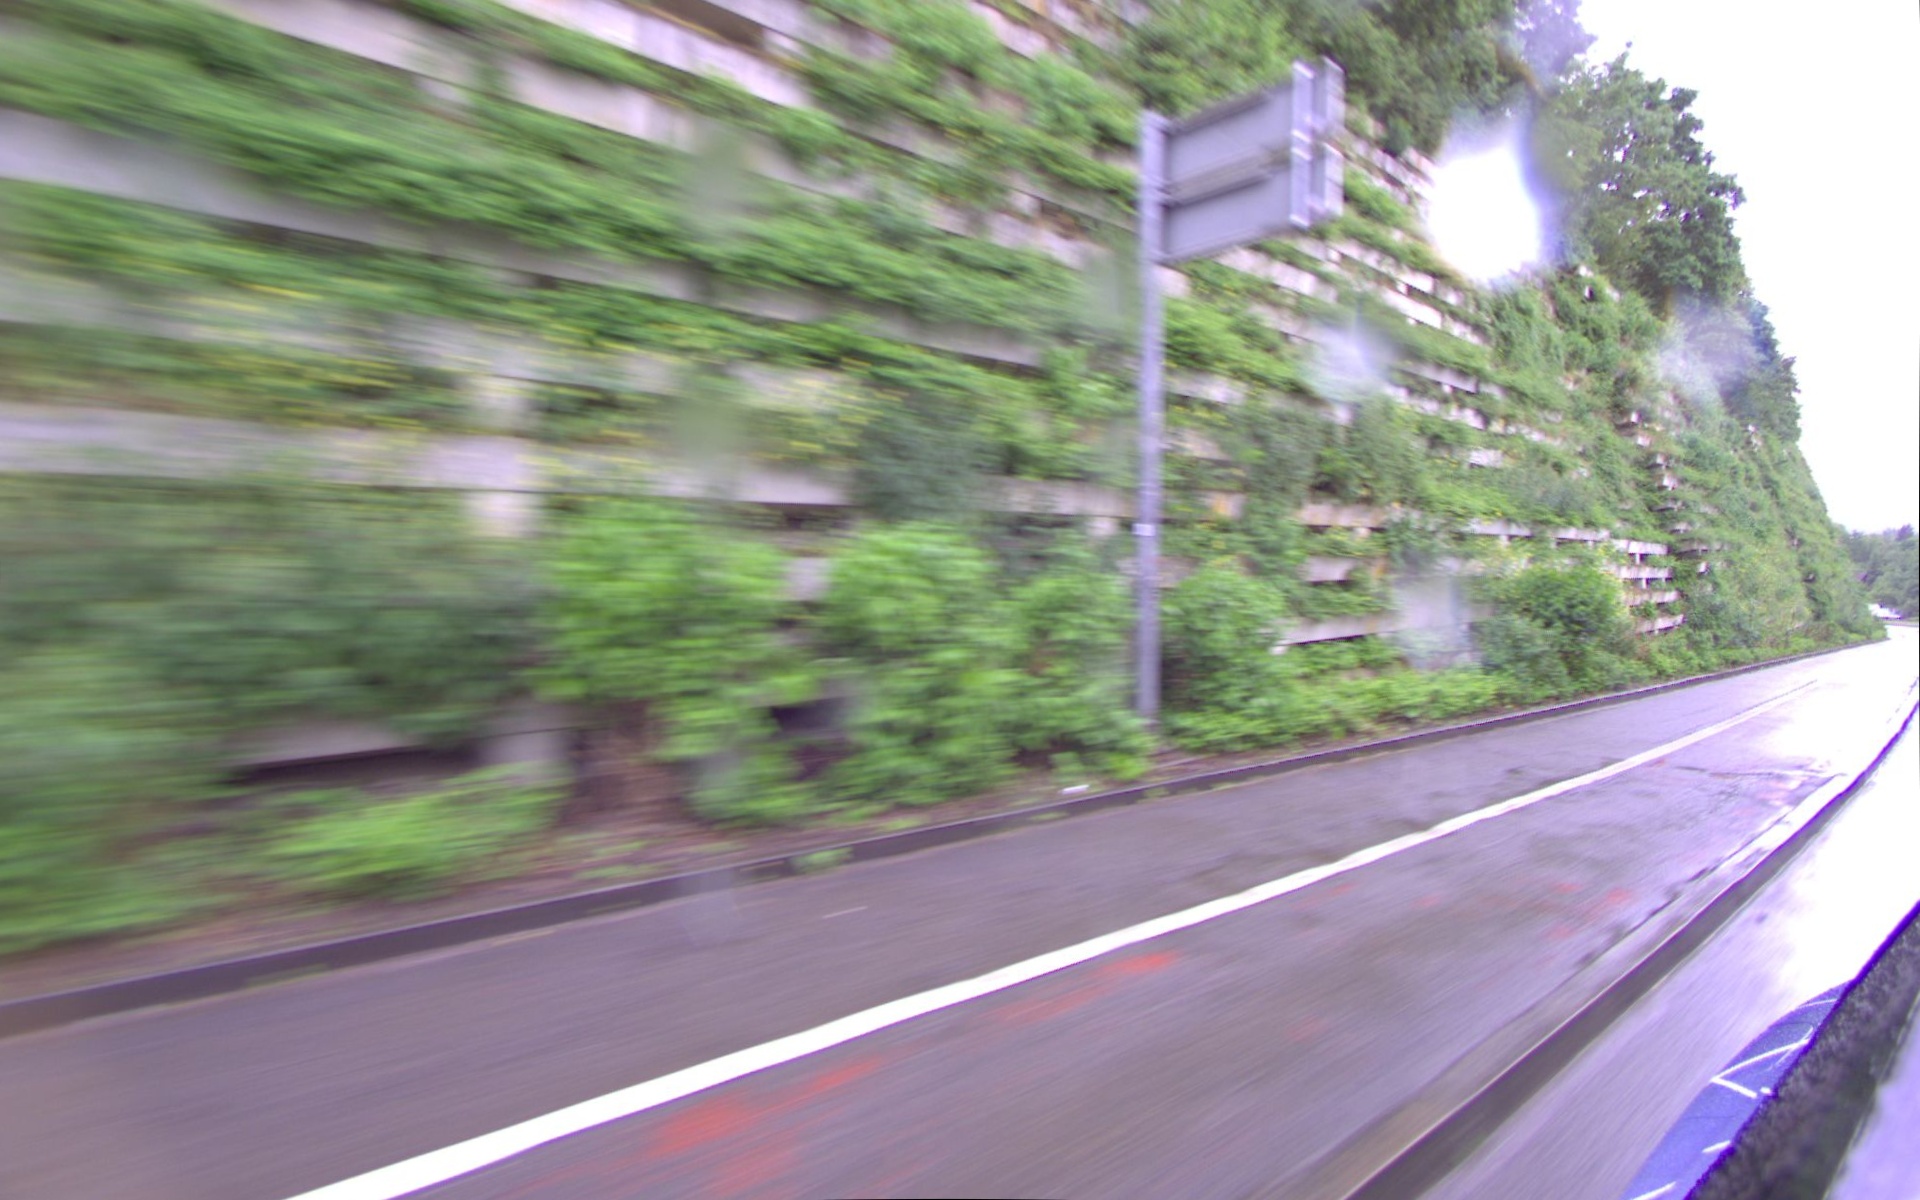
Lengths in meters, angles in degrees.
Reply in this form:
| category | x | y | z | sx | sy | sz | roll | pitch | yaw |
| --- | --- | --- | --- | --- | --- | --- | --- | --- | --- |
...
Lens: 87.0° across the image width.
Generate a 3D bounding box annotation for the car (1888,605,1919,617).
| category | x | y | z | sx | sy | sz | roll | pitch | yaw |
| --- | --- | --- | --- | --- | --- | --- | --- | --- | --- |
| car | 156.362 | 1.795 | 167.486 | 3.810 | 1.587 | 1.749 | 6 | 4 | 41 |
